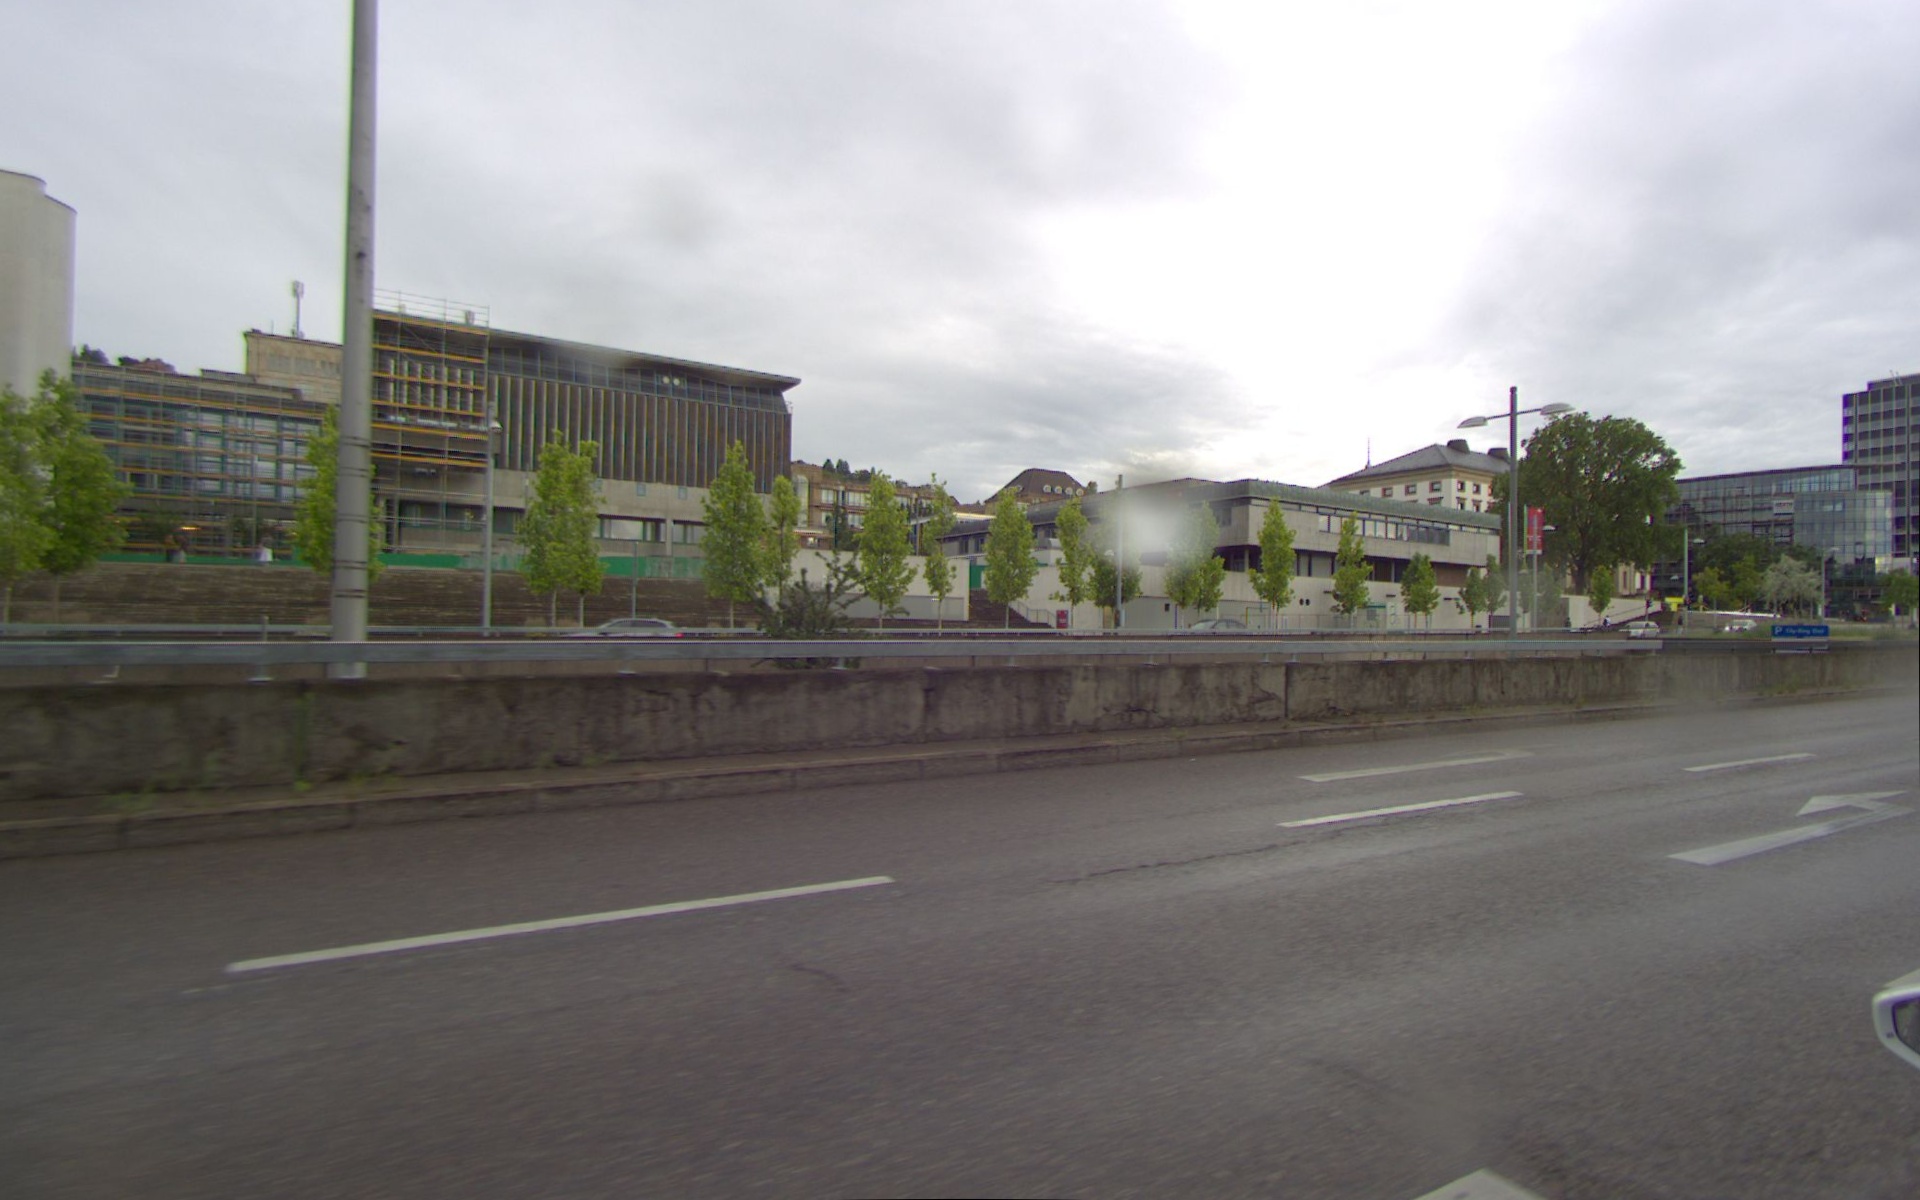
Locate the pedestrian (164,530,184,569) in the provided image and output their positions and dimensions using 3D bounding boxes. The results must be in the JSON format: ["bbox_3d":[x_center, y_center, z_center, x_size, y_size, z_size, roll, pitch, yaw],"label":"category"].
[{"bbox_3d":[-42.475,-2.730,54.273,0.596,2.040,0.637,2,0,-18],"label":"pedestrian"}]

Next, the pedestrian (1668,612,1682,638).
[{"bbox_3d":[61.184,2.117,85.944,0.718,2.120,0.763,-5,3,-32],"label":"pedestrian"}]

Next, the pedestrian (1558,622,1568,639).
[{"bbox_3d":[48.137,2.435,80.151,0.570,1.401,0.464,2,0,-32],"label":"pedestrian"}]

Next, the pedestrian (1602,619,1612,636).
[{"bbox_3d":[55.788,2.357,86.591,0.625,1.441,0.490,2,0,-27],"label":"pedestrian"}]

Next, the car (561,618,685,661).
[{"bbox_3d":[-10.732,1.271,32.050,3.501,1.243,1.558,2,-1,-30],"label":"car"}]

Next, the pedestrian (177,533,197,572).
[{"bbox_3d":[-41.869,-2.547,54.390,0.596,2.040,0.638,2,0,-15],"label":"pedestrian"}]

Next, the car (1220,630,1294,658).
[{"bbox_3d":[14.520,2.165,49.053,3.504,1.243,1.556,2,-1,-33],"label":"car"}]

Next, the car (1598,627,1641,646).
[{"bbox_3d":[49.151,2.725,74.819,3.128,1.271,1.402,2,-1,-29],"label":"car"}]

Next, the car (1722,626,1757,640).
[{"bbox_3d":[66.744,2.829,86.018,2.988,1.129,1.432,2,-1,-32],"label":"car"}]

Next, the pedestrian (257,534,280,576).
[{"bbox_3d":[-34.805,-2.265,50.570,0.627,2.040,0.606,2,0,16],"label":"pedestrian"}]
